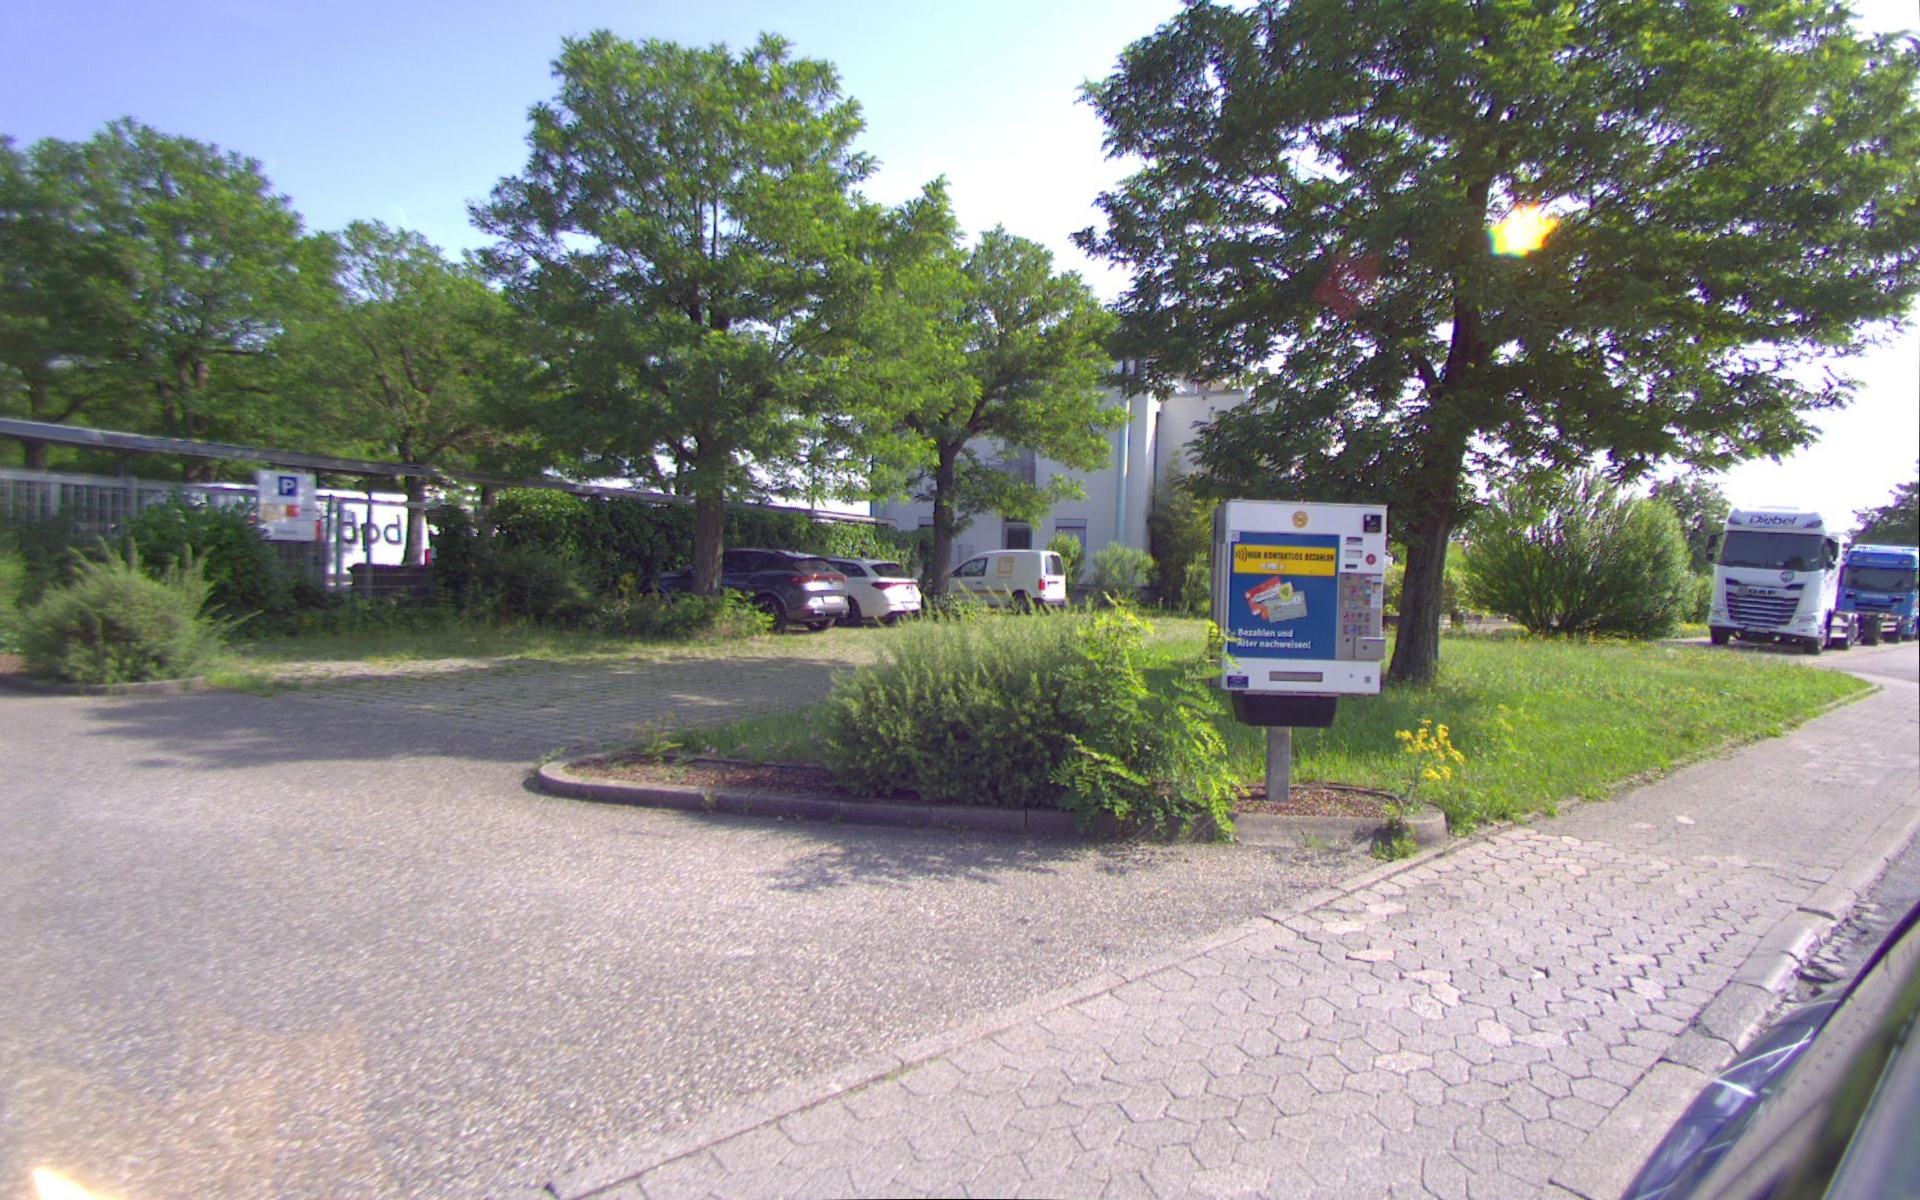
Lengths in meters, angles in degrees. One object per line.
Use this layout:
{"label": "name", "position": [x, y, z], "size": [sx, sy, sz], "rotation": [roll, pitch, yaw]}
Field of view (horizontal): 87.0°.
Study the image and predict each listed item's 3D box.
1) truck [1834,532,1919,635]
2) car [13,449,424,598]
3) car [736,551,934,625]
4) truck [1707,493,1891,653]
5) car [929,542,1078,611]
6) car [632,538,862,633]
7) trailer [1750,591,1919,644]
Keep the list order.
{"label": "truck", "position": [40.885, -0.662, 43.969], "size": [10.397, 3.987, 3.041], "rotation": [0, 3, -42]}
{"label": "car", "position": [-15.302, -1.502, 21.562], "size": [2.200, 2.640, 6.827], "rotation": [3, 3, 28]}
{"label": "car", "position": [-2.722, -0.315, 21.769], "size": [4.007, 1.422, 1.724], "rotation": [2, 2, 30]}
{"label": "truck", "position": [24.602, -0.790, 29.497], "size": [8.432, 4.028, 2.559], "rotation": [0, 5, -41]}
{"label": "car", "position": [1.226, -0.696, 28.967], "size": [3.883, 1.772, 1.734], "rotation": [3, 2, 31]}
{"label": "car", "position": [-4.002, -0.325, 18.854], "size": [4.008, 1.481, 1.781], "rotation": [4, 3, 30]}
{"label": "trailer", "position": [30.301, 0.474, 34.676], "size": [13.891, 1.408, 2.552], "rotation": [0, 3, -42]}
